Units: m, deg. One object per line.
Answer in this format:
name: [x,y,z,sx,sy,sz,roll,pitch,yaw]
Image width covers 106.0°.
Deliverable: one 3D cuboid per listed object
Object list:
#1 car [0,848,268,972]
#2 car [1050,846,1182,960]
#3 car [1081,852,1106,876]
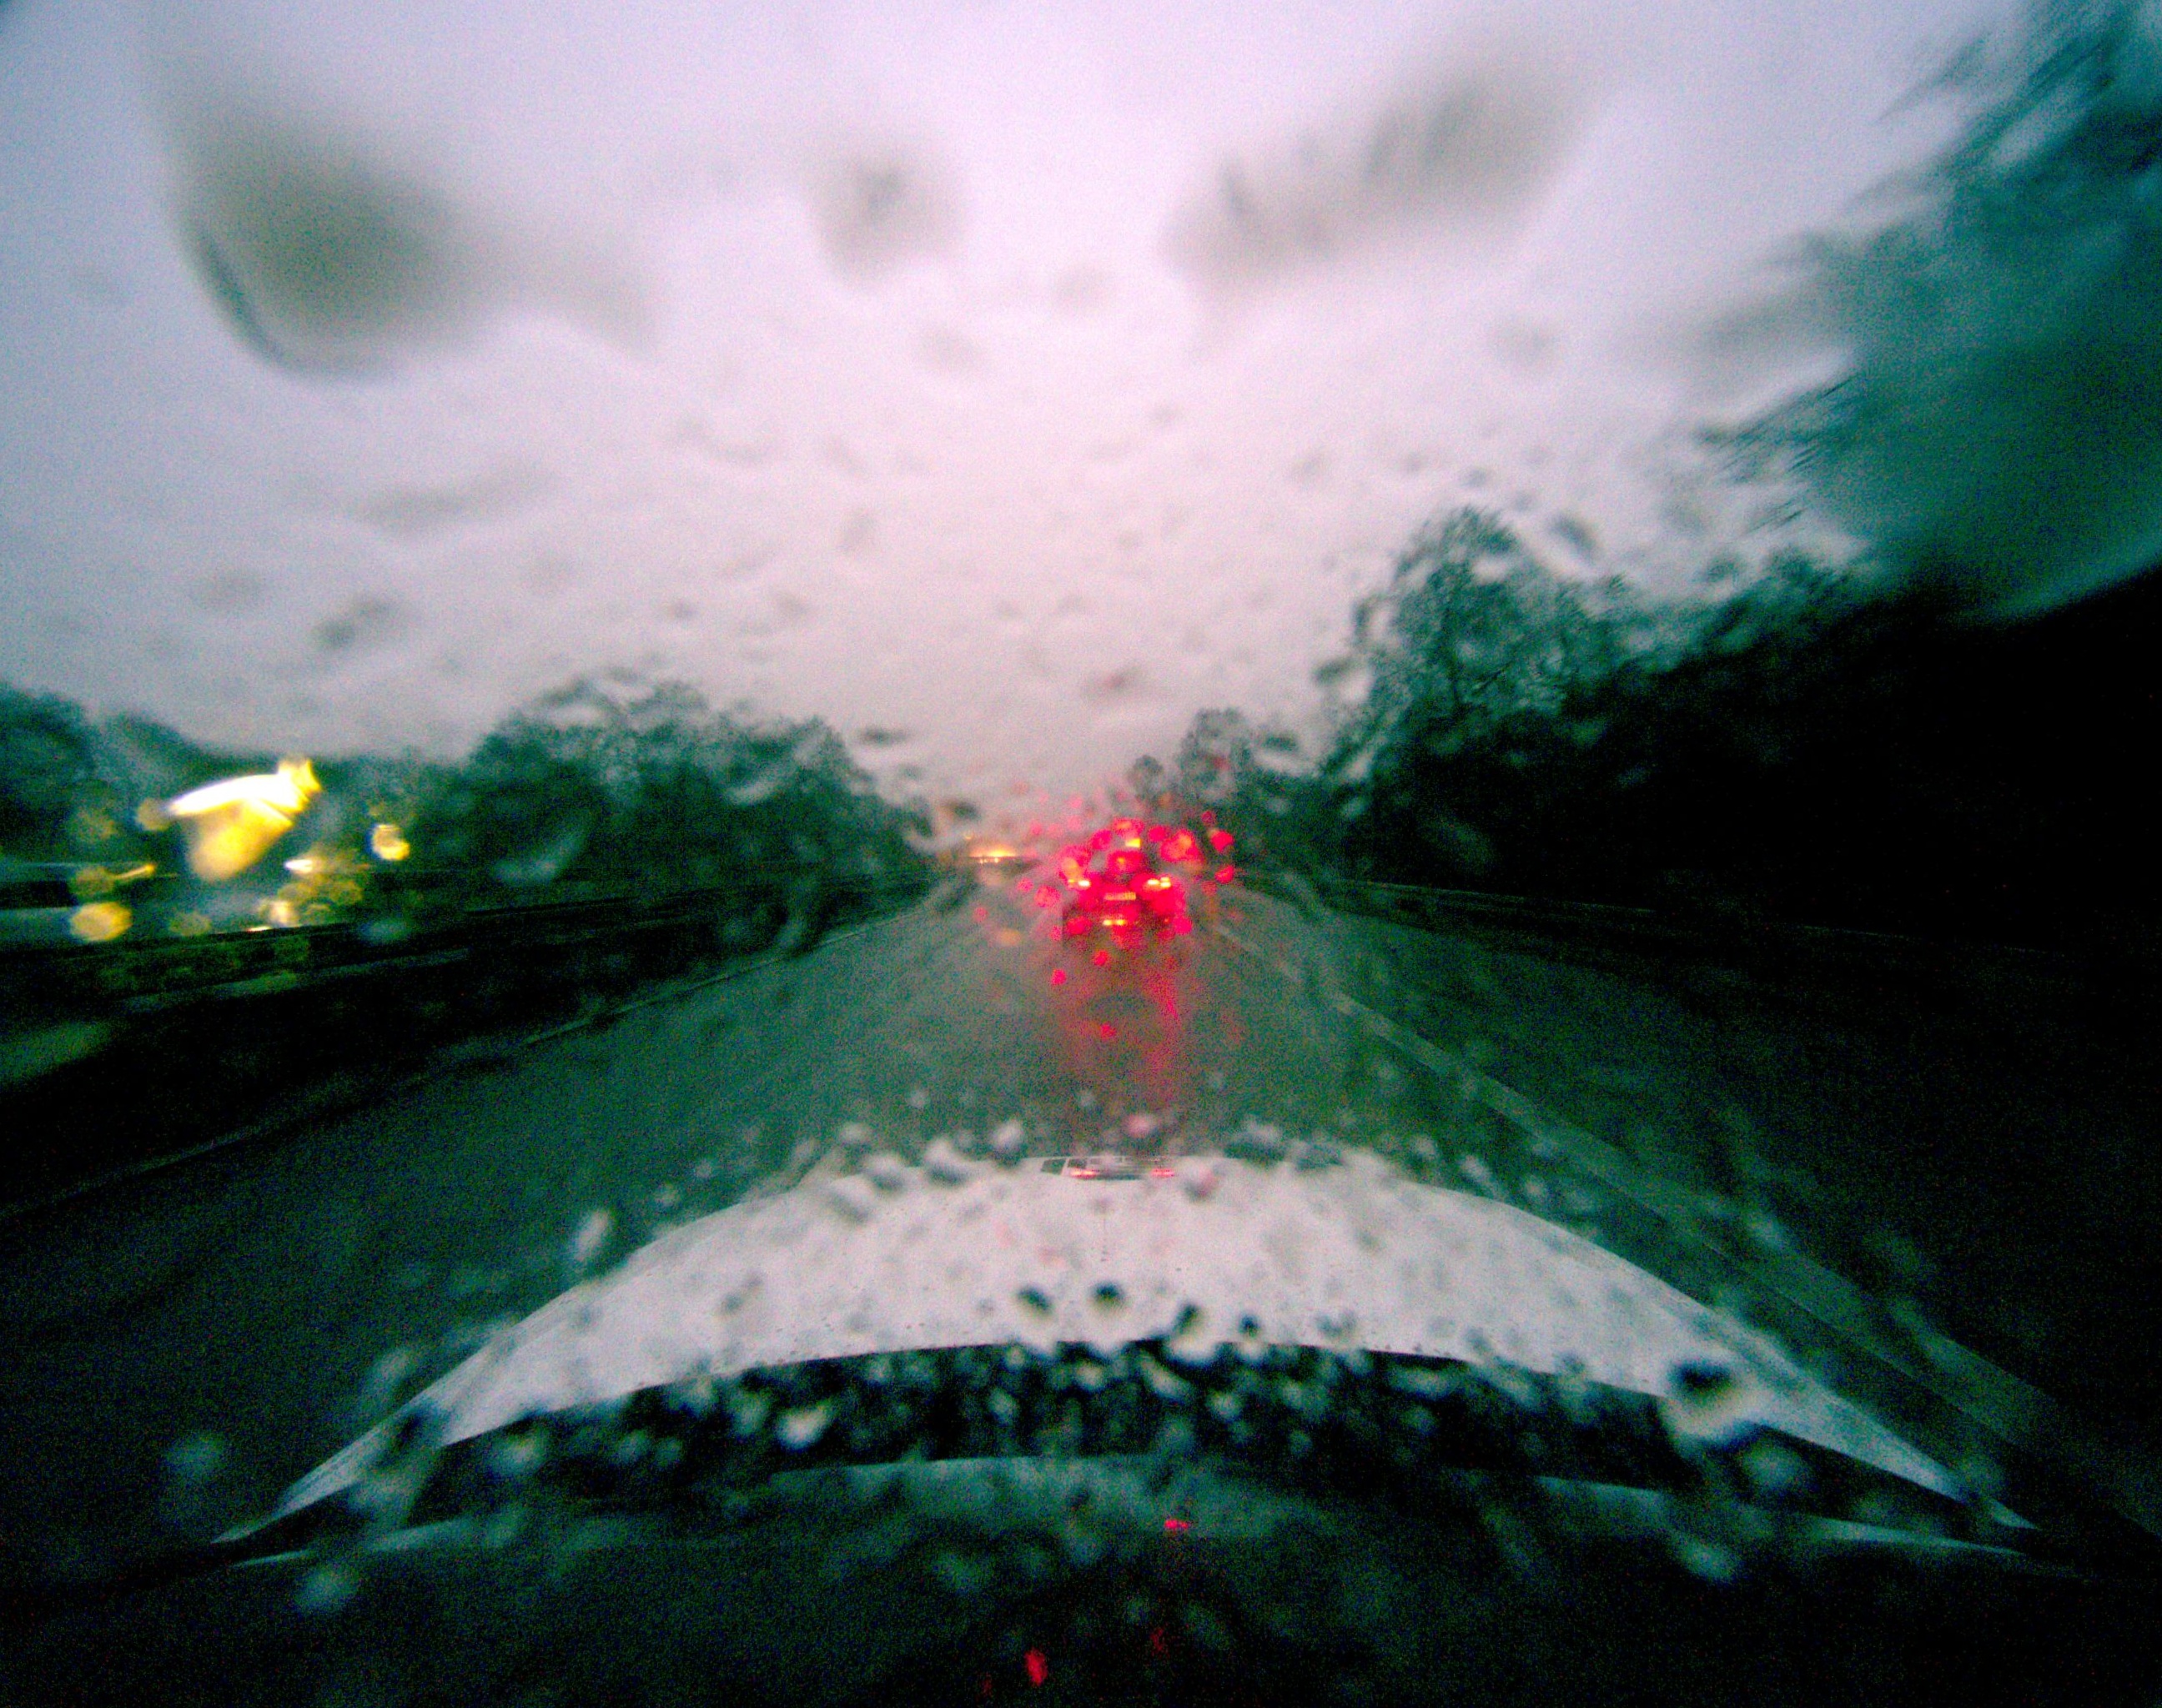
car: [-14.784,0.736,11.258,1.986,1.589,4.961,-1,0,2]
car: [0.552,0.753,14.319,1.985,1.715,3.830,-1,0,0]
car: [1.079,0.881,70.975,1.988,2.013,3.998,-1,0,-1]
